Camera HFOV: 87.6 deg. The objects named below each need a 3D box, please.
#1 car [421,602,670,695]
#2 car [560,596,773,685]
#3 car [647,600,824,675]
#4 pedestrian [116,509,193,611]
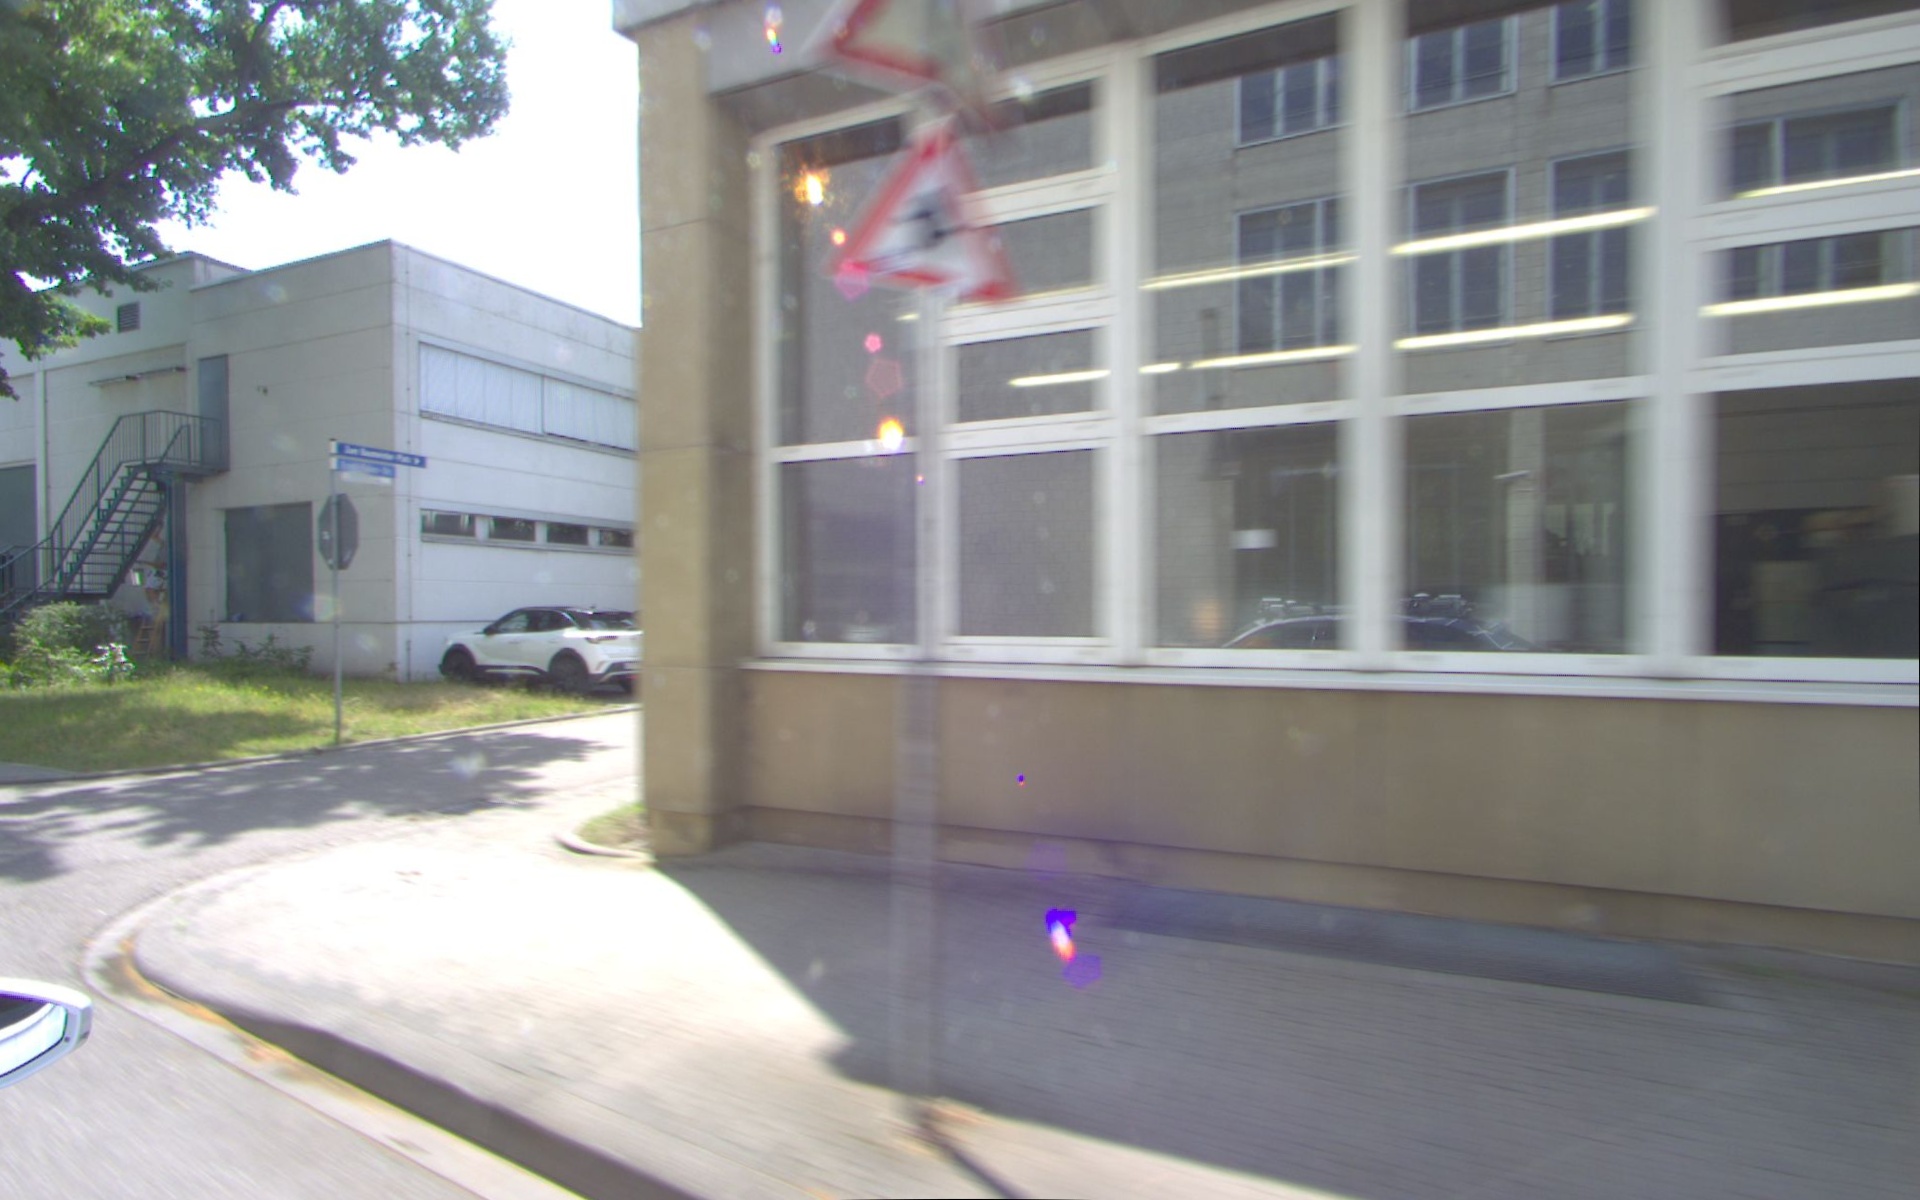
[{"bbox_3d":[-7.360,0.788,17.767,4.110,1.496,1.668,0,0,22],"label":"car"},{"bbox_3d":[-5.933,0.751,20.231,3.934,1.600,1.825,1,1,25],"label":"car"},{"bbox_3d":[-5.011,0.800,22.384,3.562,1.573,1.627,0,0,21],"label":"car"},{"bbox_3d":[-16.605,-0.796,20.656,0.935,2.041,0.926,0,1,28],"label":"pedestrian"}]
